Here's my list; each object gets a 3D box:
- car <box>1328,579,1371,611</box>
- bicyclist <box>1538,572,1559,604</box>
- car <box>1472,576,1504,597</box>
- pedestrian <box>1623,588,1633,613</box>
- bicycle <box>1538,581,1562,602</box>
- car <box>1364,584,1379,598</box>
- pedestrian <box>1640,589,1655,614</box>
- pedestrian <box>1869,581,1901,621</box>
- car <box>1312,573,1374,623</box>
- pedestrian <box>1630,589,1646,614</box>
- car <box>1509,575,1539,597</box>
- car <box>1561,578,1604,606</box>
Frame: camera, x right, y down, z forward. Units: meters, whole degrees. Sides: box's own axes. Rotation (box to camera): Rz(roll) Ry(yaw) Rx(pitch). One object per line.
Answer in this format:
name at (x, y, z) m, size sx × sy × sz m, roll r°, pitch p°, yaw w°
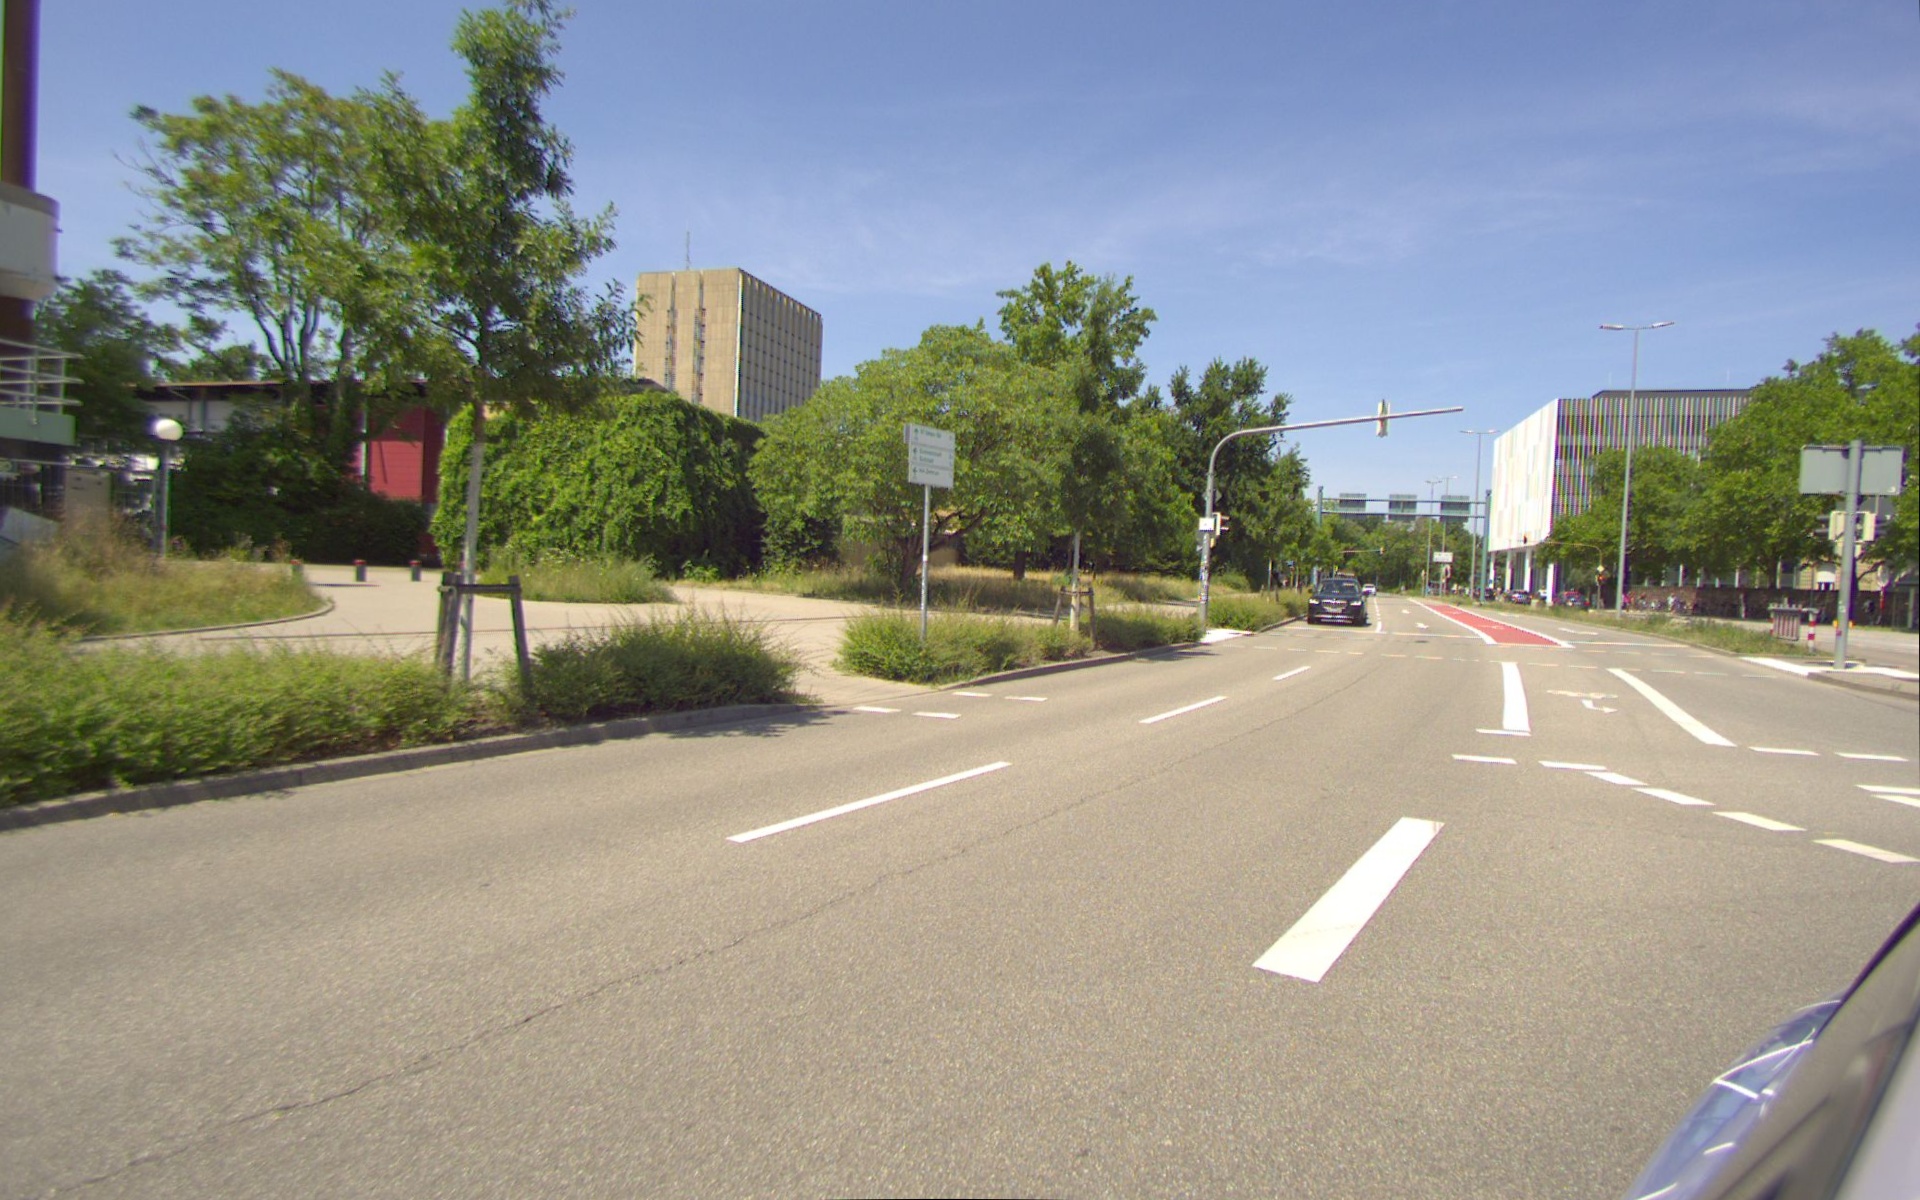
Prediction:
car at (19.553, -0.209, 50.943) m, size 1.737 × 1.457 × 3.975 m, roll 3°, pitch 0°, yaw 19°
bicyclist at (36.662, -0.741, 63.012) m, size 0.698 × 1.910 × 1.135 m, roll 3°, pitch 0°, yaw 11°
car at (46.946, -1.191, 90.025) m, size 1.756 × 1.689 × 3.975 m, roll 3°, pitch 0°, yaw 18°
pedestrian at (56.486, 0.050, 85.584) m, size 0.543 × 2.039 × 0.532 m, roll 3°, pitch 0°, yaw 21°
bicycle at (36.714, -0.515, 62.982) m, size 0.513 × 1.252 × 2.184 m, roll 3°, pitch 0°, yaw 11°
car at (55.997, -1.265, 137.731) m, size 1.716 × 1.707 × 3.888 m, roll 3°, pitch 0°, yaw 20°
pedestrian at (57.896, 0.136, 85.203) m, size 0.779 × 2.039 × 0.834 m, roll 3°, pitch 0°, yaw 20°
pedestrian at (55.531, 0.056, 60.786) m, size 0.834 × 2.319 × 1.074 m, roll 3°, pitch 0°, yaw 5°
car at (13.866, -0.123, 36.481) m, size 1.692 × 1.605 × 4.517 m, roll 3°, pitch 3°, yaw 25°
pedestrian at (57.283, 0.098, 85.498) m, size 0.779 × 2.039 × 0.957 m, roll 3°, pitch 0°, yaw 20°
car at (49.588, -1.209, 88.976) m, size 1.762 × 1.705 × 3.969 m, roll 3°, pitch 0°, yaw 23°
car at (49.217, -0.601, 80.097) m, size 1.976 × 2.039 × 4.184 m, roll 3°, pitch 0°, yaw 21°
